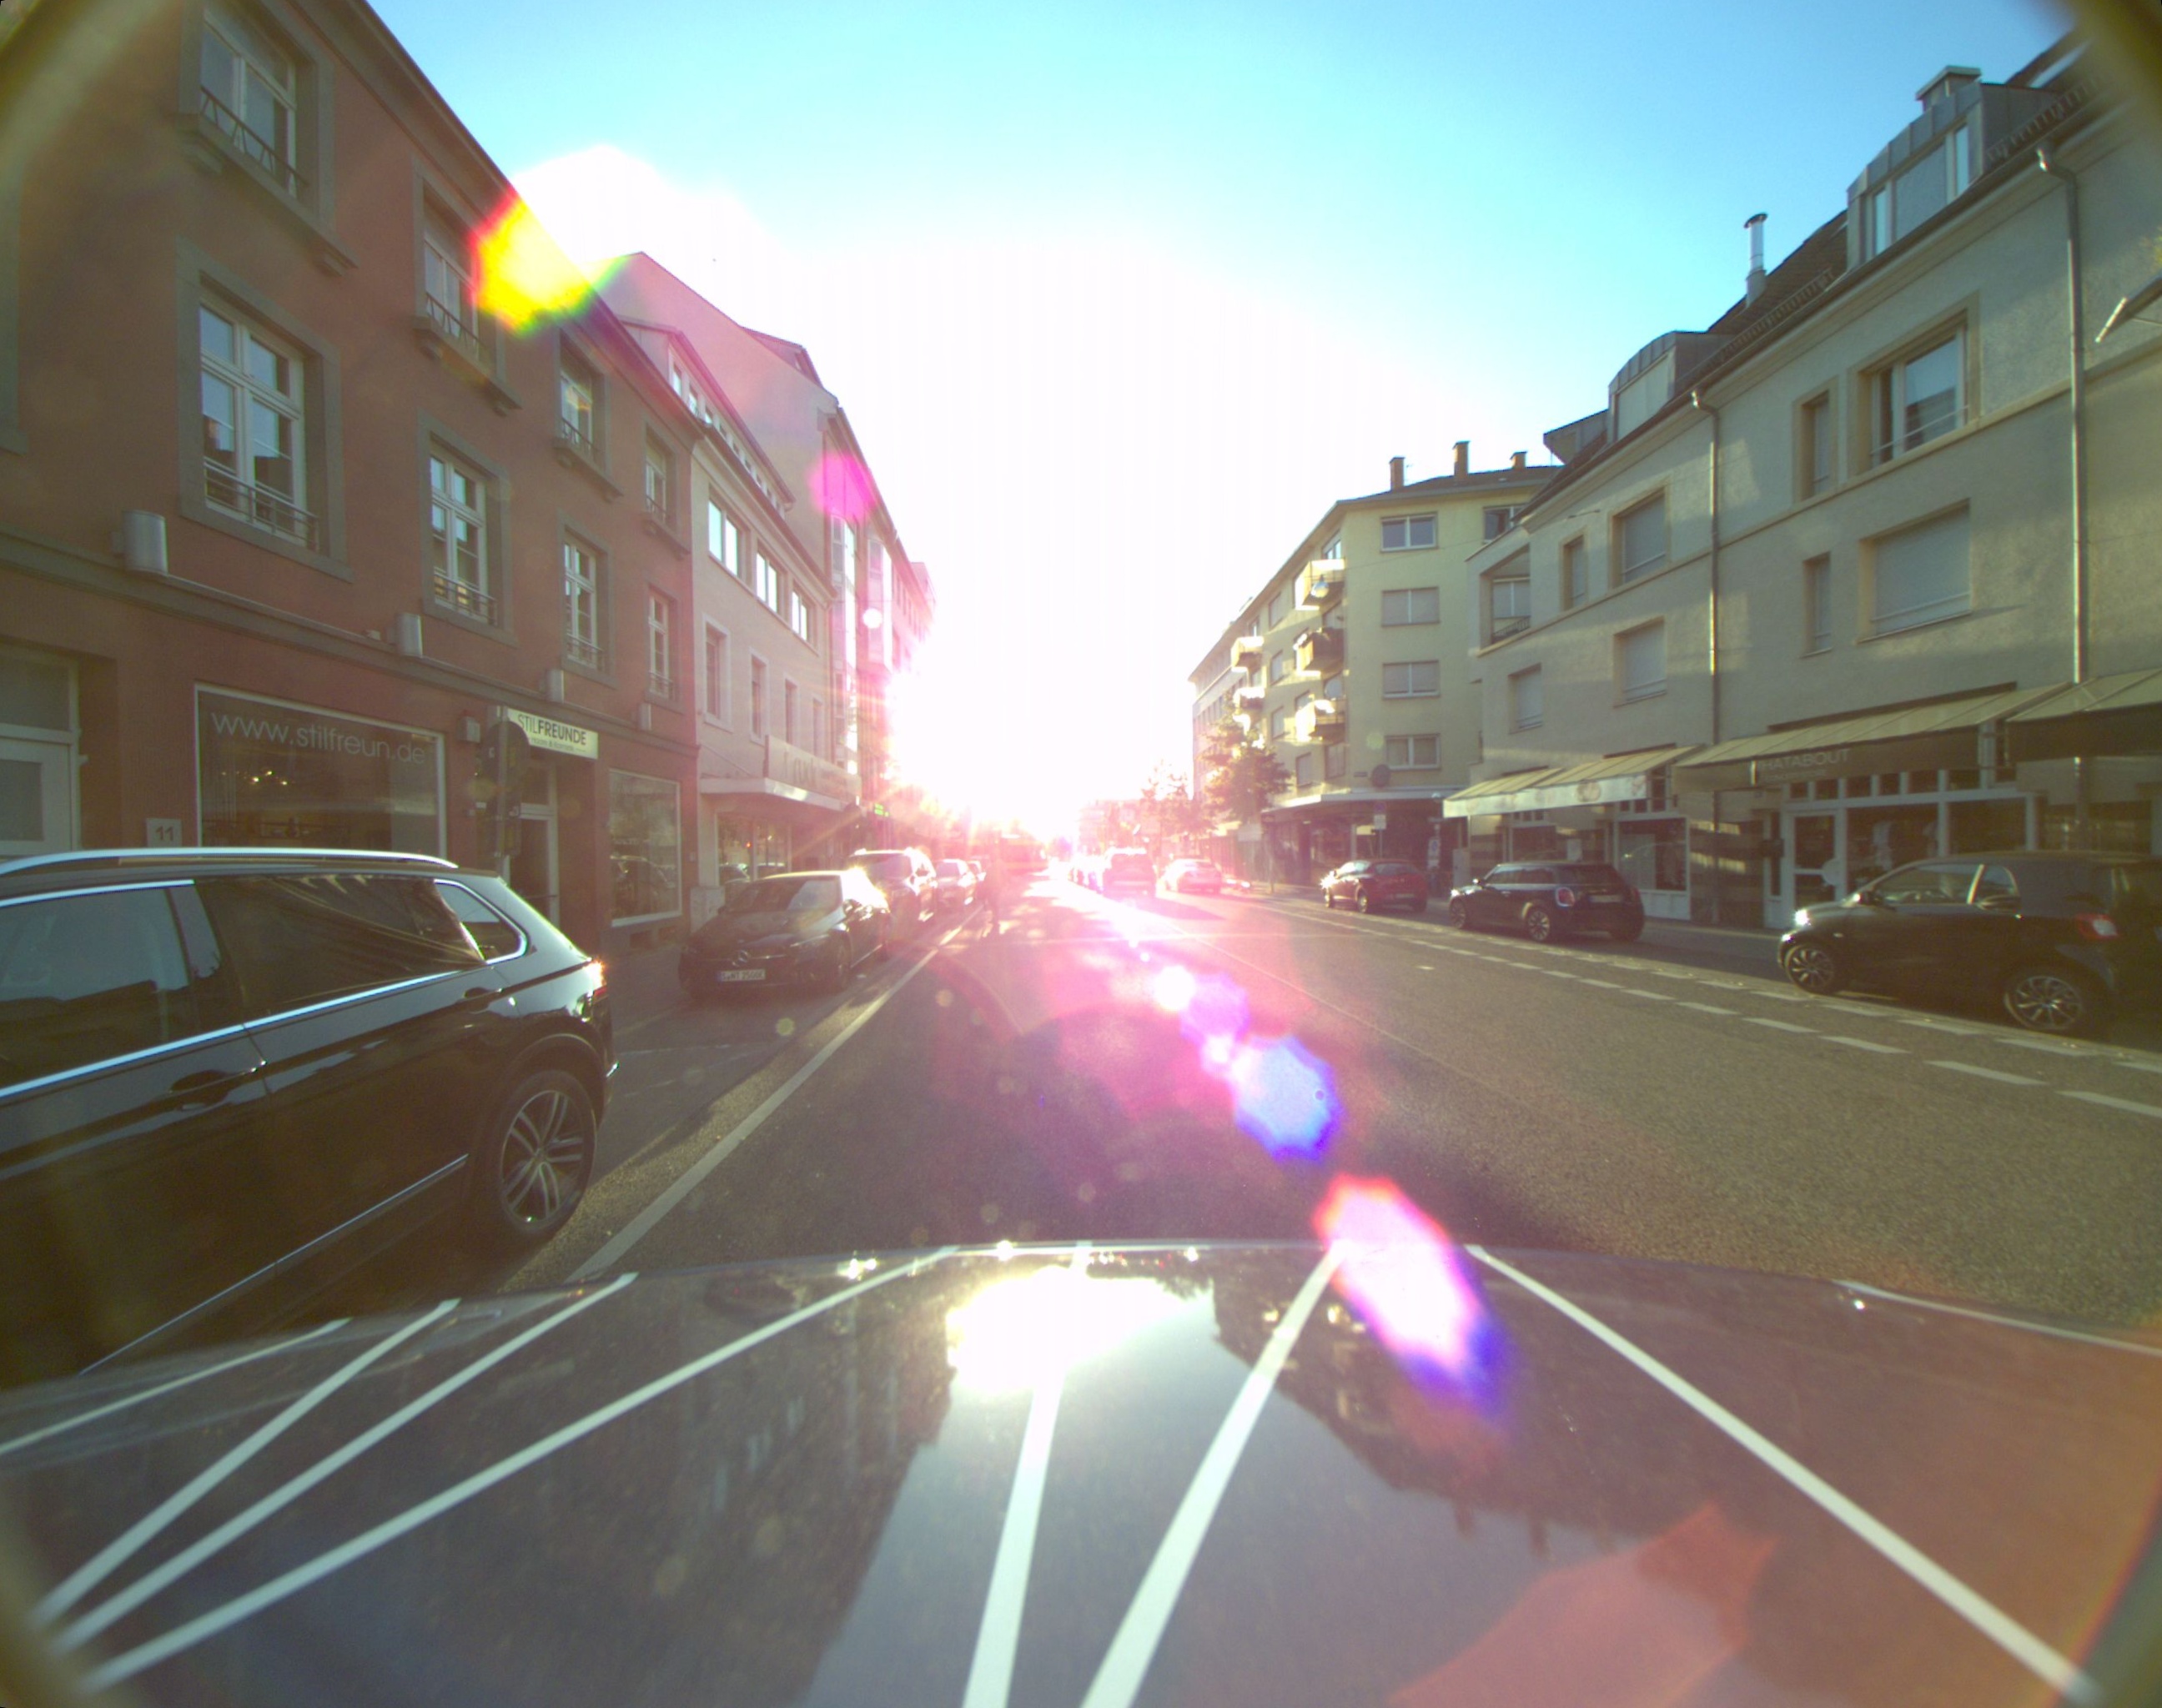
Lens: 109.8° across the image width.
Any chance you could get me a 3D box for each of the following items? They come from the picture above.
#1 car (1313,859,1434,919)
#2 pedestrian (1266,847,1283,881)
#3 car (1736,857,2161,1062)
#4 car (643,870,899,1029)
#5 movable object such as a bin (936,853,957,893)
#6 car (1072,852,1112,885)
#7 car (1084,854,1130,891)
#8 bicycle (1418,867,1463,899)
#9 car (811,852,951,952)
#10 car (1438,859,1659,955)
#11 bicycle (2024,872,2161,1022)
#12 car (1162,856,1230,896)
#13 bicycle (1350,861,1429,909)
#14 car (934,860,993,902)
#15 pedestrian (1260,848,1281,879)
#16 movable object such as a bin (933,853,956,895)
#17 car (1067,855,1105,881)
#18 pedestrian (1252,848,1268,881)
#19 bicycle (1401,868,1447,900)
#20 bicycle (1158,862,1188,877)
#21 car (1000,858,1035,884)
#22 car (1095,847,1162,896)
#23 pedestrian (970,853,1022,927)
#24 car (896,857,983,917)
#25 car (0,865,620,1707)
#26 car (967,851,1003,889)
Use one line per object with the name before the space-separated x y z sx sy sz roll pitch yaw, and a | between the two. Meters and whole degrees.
car | 8.076 0.902 21.356 1.665 1.394 3.882 -2 1 -4
pedestrian | 10.627 0.553 41.777 0.742 1.808 0.813 0 0 -1
car | 8.889 0.825 7.589 1.797 1.526 3.187 -1 1 -6
car | -3.795 1.057 10.209 1.767 1.475 4.305 -2 1 -3
movable object such as a bin | -6.202 0.854 35.052 0.837 1.763 1.205 -2 1 -7
car | 0.540 0.754 41.463 1.951 1.635 4.613 0 1 -3
car | 1.118 0.781 34.784 1.728 1.540 4.463 0 1 -3
bicycle | 12.207 0.967 25.880 0.491 0.986 2.015 -2 1 -2
car | -4.110 0.873 16.513 1.888 1.744 5.056 -2 1 -3
car | 8.562 0.884 14.344 1.716 1.445 3.723 -2 1 -3
bicycle | 10.531 0.900 7.017 0.612 1.367 2.357 -2 1 -4
car | 4.908 0.883 32.967 1.999 1.503 4.507 2 1 -3
bicycle | 9.633 0.926 23.948 0.961 1.293 3.125 -2 1 -5
car | -4.446 0.968 29.230 1.758 1.412 4.508 -2 0 -3
pedestrian | 10.117 0.507 40.542 0.768 1.666 0.744 -1 1 39
movable object such as a bin | -6.045 0.864 33.760 0.837 1.763 1.352 -2 1 -7
car | 0.269 0.859 48.168 1.964 1.538 4.508 -1 -1 -5
pedestrian | 10.144 0.570 42.975 0.769 1.836 0.743 -1 -1 7
bicycle | 11.653 0.990 25.909 0.491 0.986 2.015 -2 1 -5
bicycle | 6.487 1.067 53.399 2.015 0.986 0.491 -2 1 -7
car | -3.805 0.991 45.336 1.942 1.368 4.180 -2 0 -5
car | 1.651 0.571 27.946 1.946 1.635 4.737 0 1 -3
pedestrian | -2.006 0.816 17.763 0.908 1.666 0.991 -1 0 -27
car | -4.238 0.937 23.575 1.816 1.518 4.992 -2 1 -1
car | -3.080 0.936 1.520 1.817 1.658 4.204 -2 1 -3
car | -4.858 0.806 38.742 1.659 1.768 4.009 -2 0 -6
